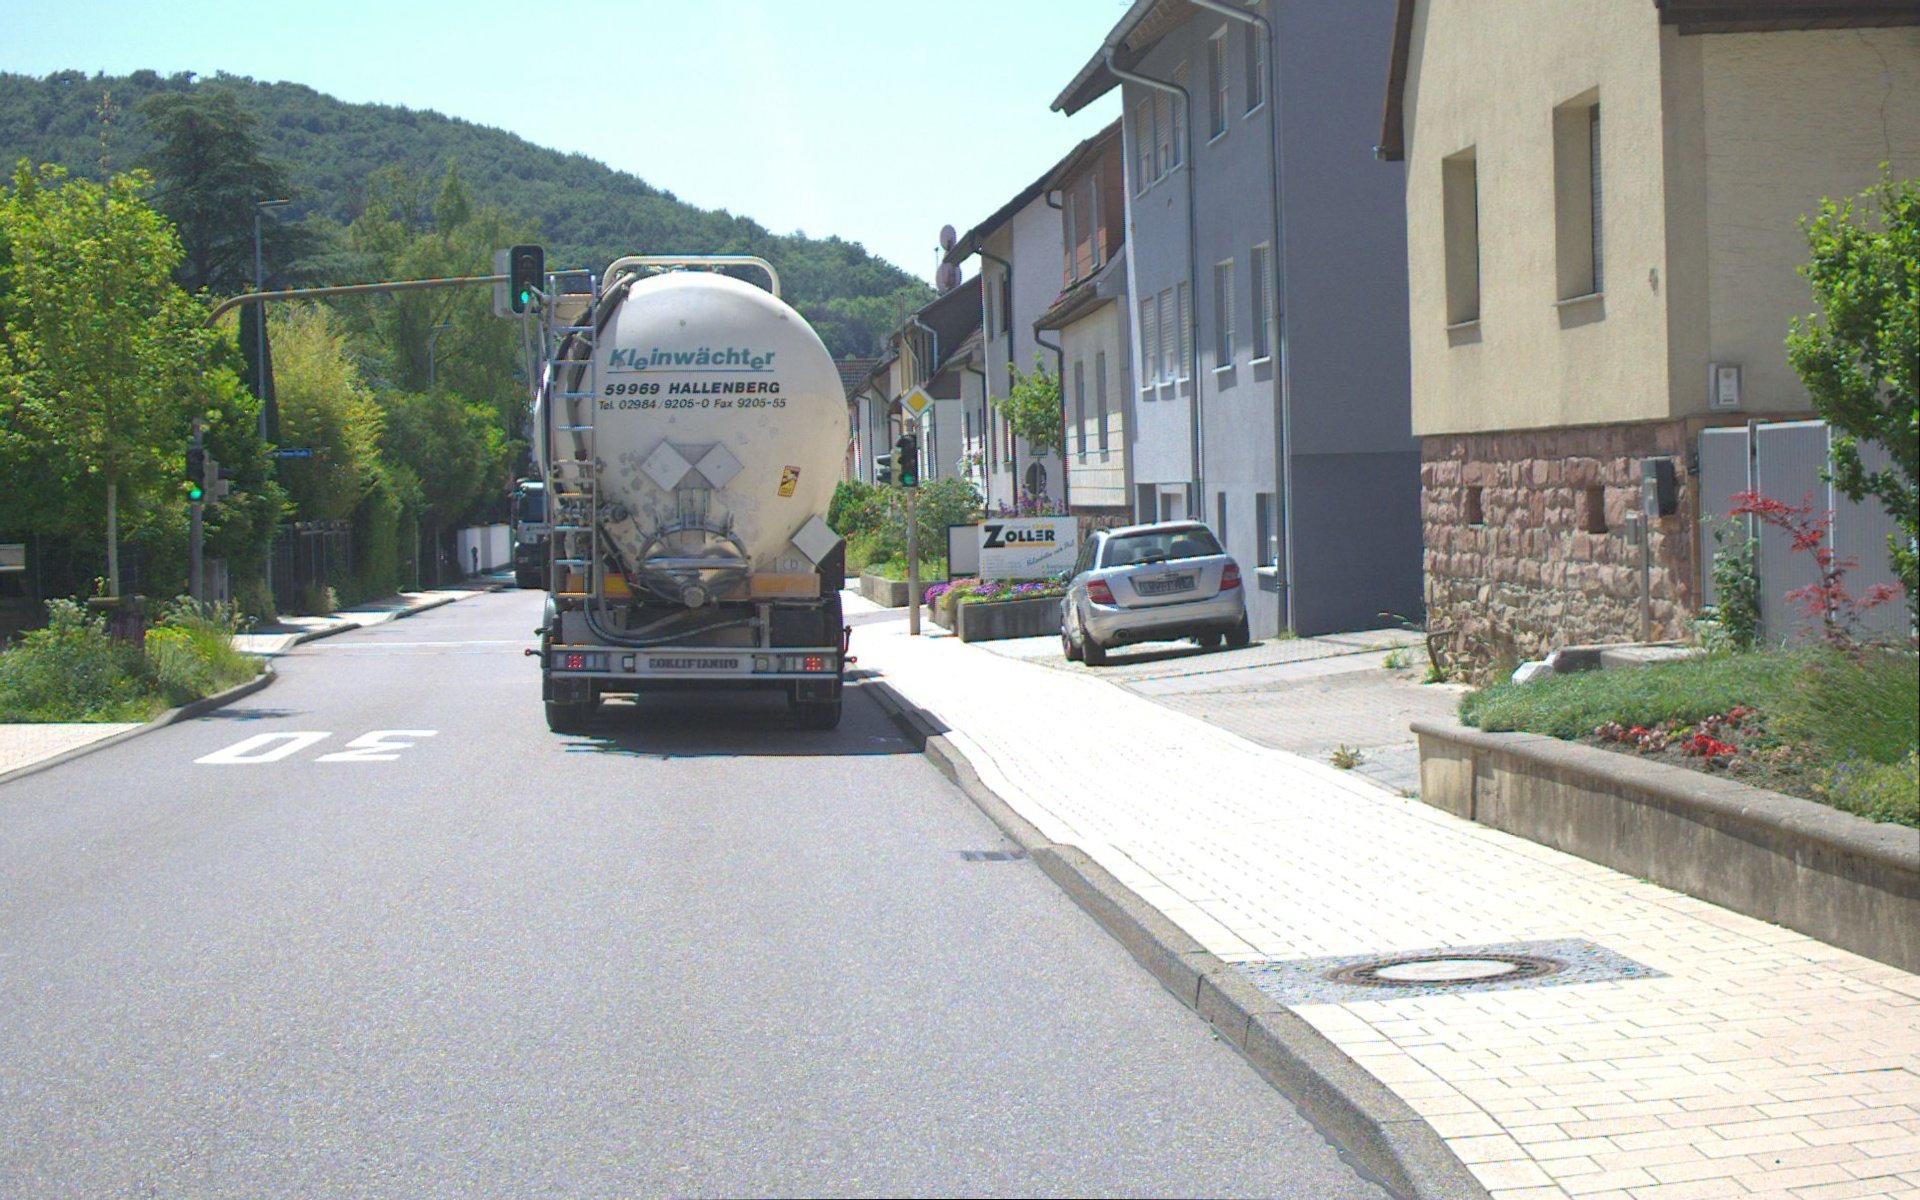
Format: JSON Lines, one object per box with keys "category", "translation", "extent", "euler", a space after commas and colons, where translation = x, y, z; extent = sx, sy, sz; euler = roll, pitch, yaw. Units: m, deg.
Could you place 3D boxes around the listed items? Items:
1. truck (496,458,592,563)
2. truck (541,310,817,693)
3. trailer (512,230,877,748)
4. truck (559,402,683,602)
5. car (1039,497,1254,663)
{"category": "truck", "translation": [-13.746, -2.939, 114.050], "extent": [2.728, 3.360, 8.636], "euler": [0, 1, -4]}
{"category": "truck", "translation": [-3.176, -1.060, 38.353], "extent": [2.808, 3.923, 6.100], "euler": [0, 1, -6]}
{"category": "trailer", "translation": [-2.542, -0.956, 31.760], "extent": [2.795, 3.987, 10.326], "euler": [0, 1, -5]}
{"category": "truck", "translation": [-8.503, -2.303, 86.730], "extent": [2.846, 4.663, 11.341], "euler": [1, 0, -5]}
{"category": "car", "translation": [1.967, -0.251, 37.516], "extent": [1.791, 1.536, 4.520], "euler": [-5, 1, -2]}
